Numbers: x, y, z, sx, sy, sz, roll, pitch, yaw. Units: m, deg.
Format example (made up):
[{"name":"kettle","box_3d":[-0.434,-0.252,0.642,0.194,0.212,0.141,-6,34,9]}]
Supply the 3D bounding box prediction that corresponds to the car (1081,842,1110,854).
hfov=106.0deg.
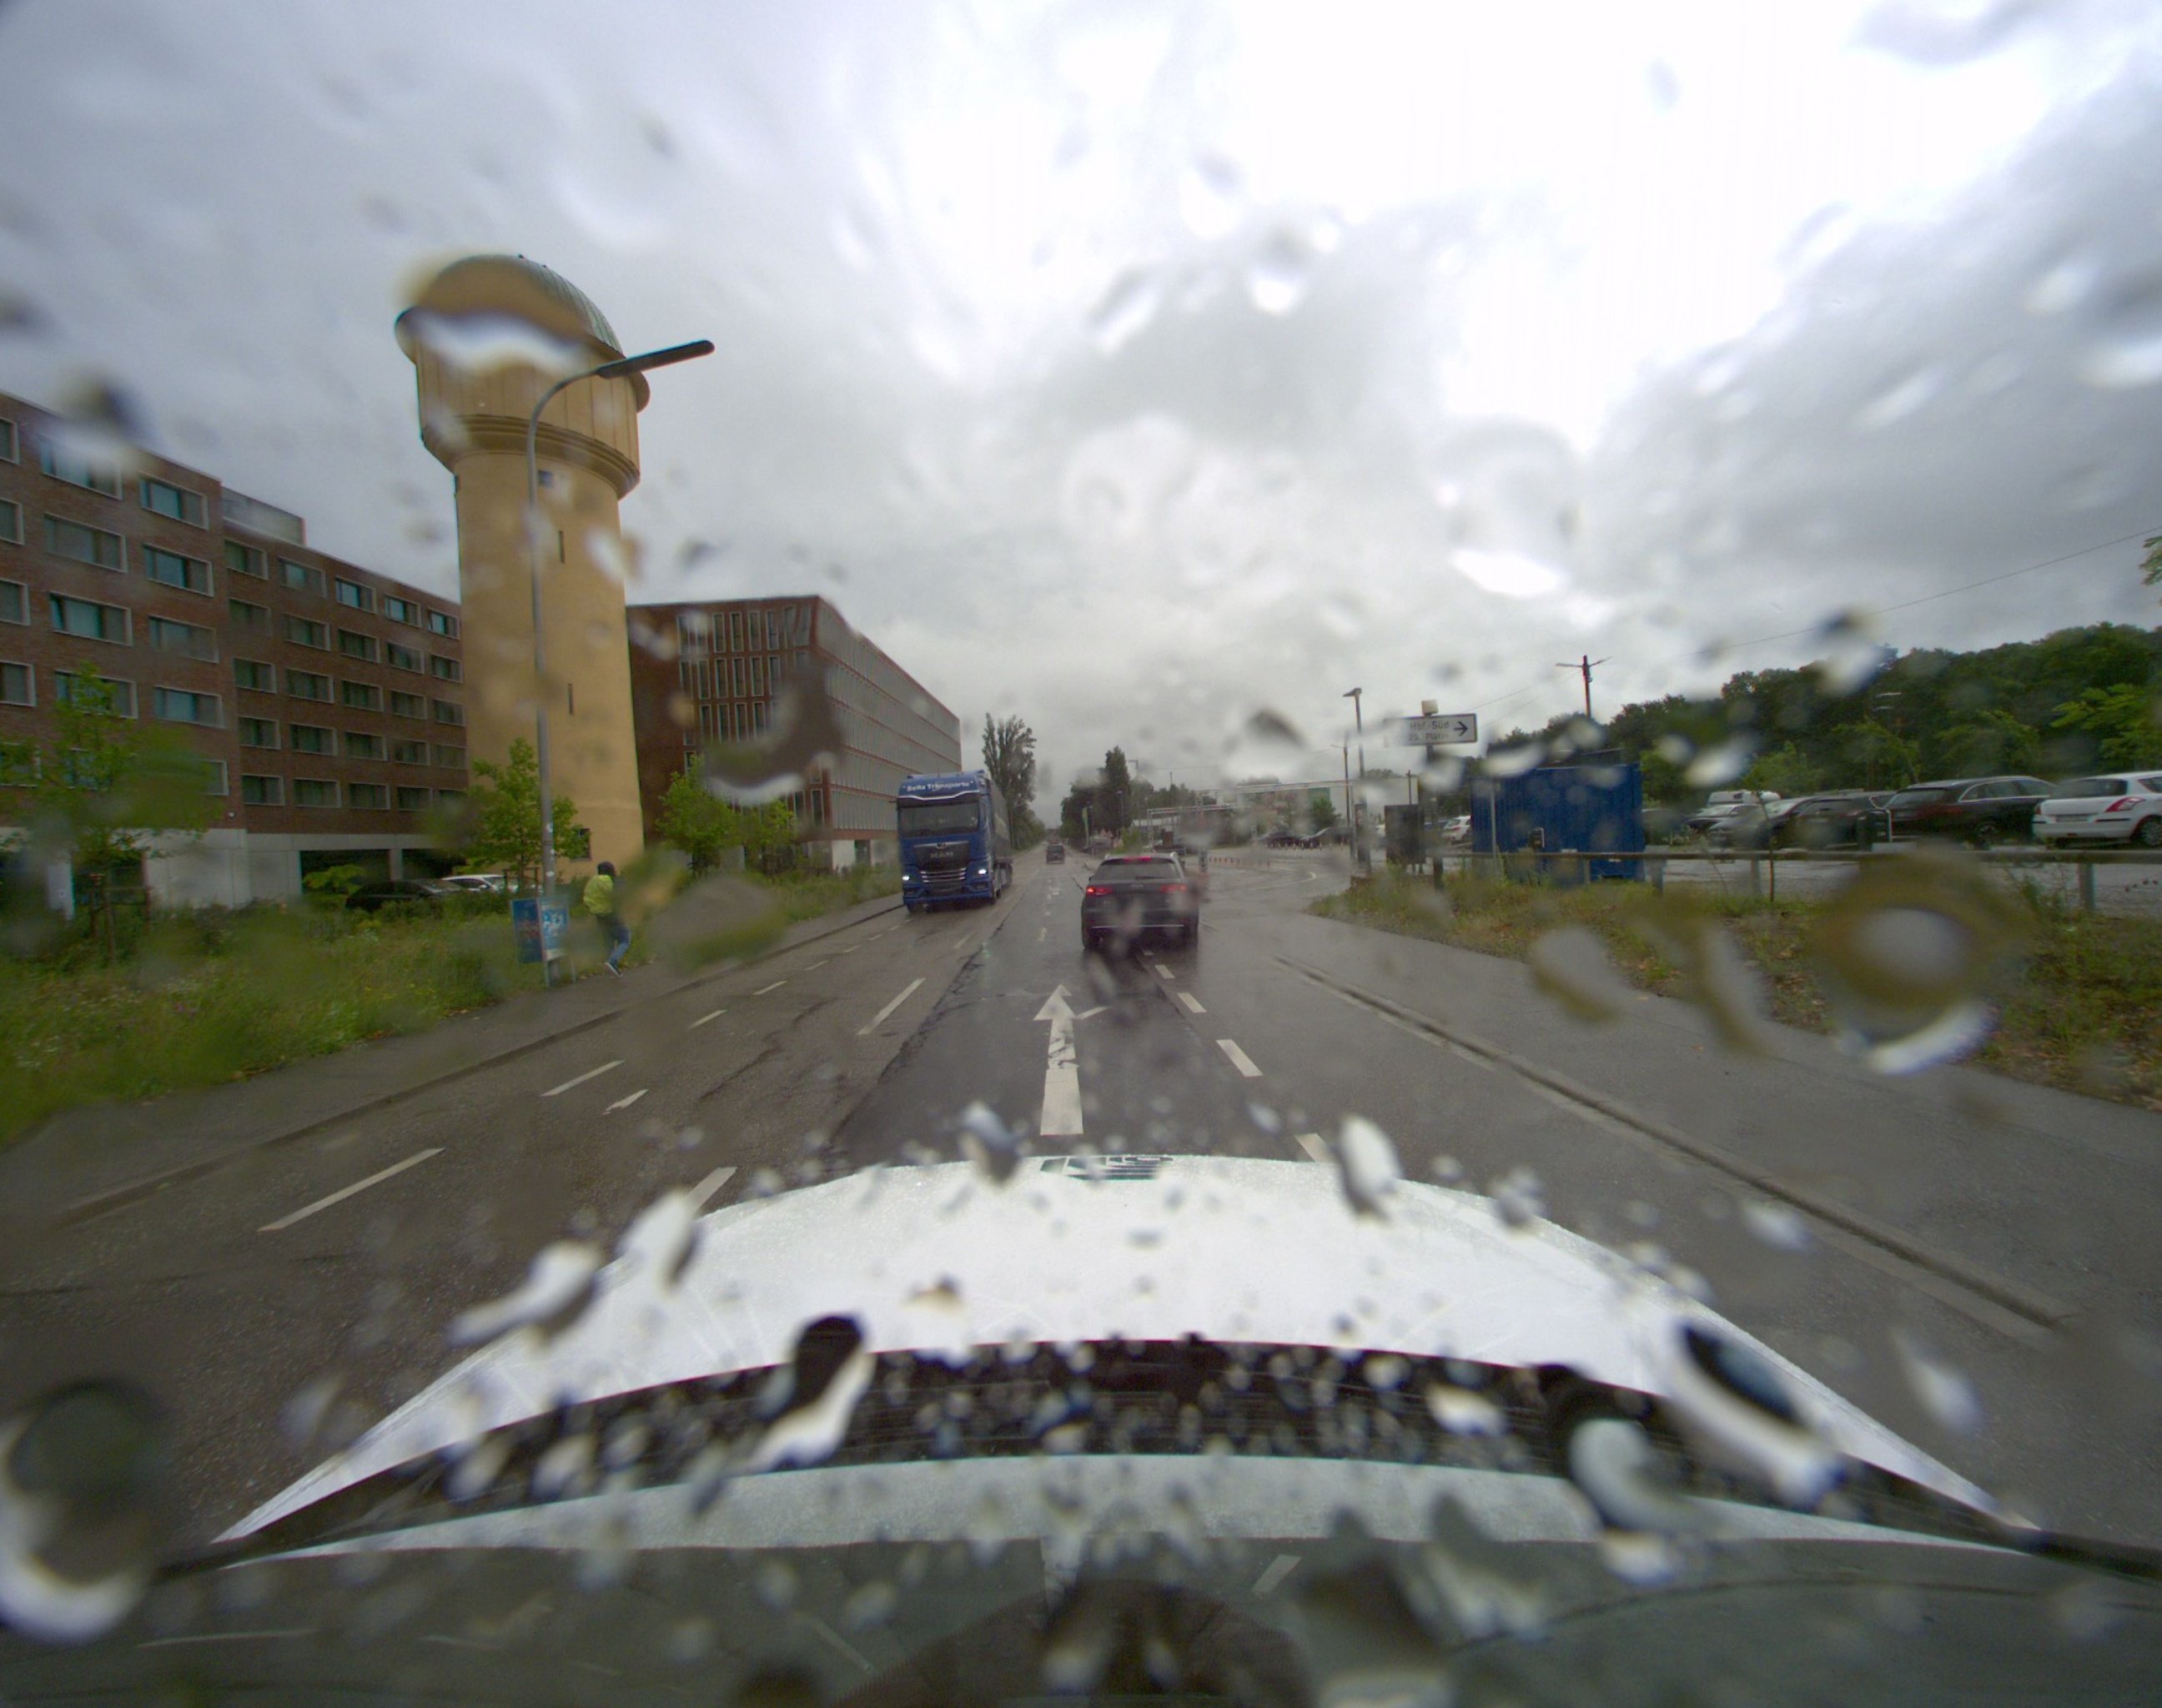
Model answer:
[{"name":"car","box_3d":[2.177,-0.846,118.682,4.122,1.568,1.765,-3,0,0]}]

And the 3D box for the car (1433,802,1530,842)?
[{"name":"car","box_3d":[20.128,-1.584,40.992,3.890,1.583,1.787,-6,-1,1]}]

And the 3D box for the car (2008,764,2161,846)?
[{"name":"car","box_3d":[21.920,-1.079,16.597,3.940,1.490,1.777,-5,-1,0]}]

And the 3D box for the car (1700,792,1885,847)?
[{"name":"car","box_3d":[20.818,-0.979,23.957,3.872,1.221,1.649,-5,-1,3]}]

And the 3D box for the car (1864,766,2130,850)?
[{"name":"car","box_3d":[20.911,-1.012,18.721,3.940,1.490,1.870,-5,-1,0]}]

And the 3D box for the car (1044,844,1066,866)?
[{"name":"car","box_3d":[-2.518,0.087,78.519,1.989,1.910,4.197,-4,0,-3]}]

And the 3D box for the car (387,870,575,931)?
[{"name":"car","box_3d":[-19.715,1.494,26.939,4.514,1.641,1.997,-3,0,-5]}]

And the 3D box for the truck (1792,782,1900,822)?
[{"name":"truck","box_3d":[47.713,-3.174,50.948,2.063,2.138,5.088,-4,1,3]}]

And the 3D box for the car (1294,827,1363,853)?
[{"name":"car","box_3d":[19.043,-1.052,62.772,4.616,1.716,2.014,-2,-1,-8]}]

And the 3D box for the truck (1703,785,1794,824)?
[{"name":"truck","box_3d":[47.480,-3.505,58.096,2.067,2.401,5.080,-4,1,-2]}]

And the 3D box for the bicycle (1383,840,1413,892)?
[{"name":"bicycle","box_3d":[7.277,0.250,18.745,0.502,1.084,1.711,-4,0,19]}]

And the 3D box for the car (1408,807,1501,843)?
[{"name":"car","box_3d":[20.071,-1.552,43.900,4.031,1.484,1.928,-6,-1,1]}]

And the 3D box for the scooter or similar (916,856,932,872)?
[{"name":"scooter or similar","box_3d":[-13.363,0.864,69.168,0.461,1.230,1.216,-3,1,40]}]

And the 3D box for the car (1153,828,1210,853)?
[{"name":"car","box_3d":[8.567,-1.115,69.693,4.663,1.735,2.129,-4,-1,2]}]

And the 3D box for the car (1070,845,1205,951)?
[{"name":"car","box_3d":[1.013,0.616,13.856,1.885,1.456,4.234,-2,0,5]}]

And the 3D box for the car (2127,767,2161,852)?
[{"name":"car","box_3d":[20.909,-0.954,13.823,3.940,1.490,1.777,-5,-1,0]}]

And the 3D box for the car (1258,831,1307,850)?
[{"name":"car","box_3d":[18.461,-1.244,74.770,3.976,1.485,1.999,-3,-1,-1]}]

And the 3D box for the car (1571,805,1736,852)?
[{"name":"car","box_3d":[20.529,-0.901,29.337,4.578,1.221,1.976,-5,-1,-3]}]

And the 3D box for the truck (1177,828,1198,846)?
[{"name":"truck","box_3d":[16.631,-2.669,127.503,2.293,2.659,7.419,-4,1,1]}]

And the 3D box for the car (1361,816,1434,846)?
[{"name":"car","box_3d":[20.059,-1.436,51.702,3.817,1.484,1.928,-6,-1,1]}]

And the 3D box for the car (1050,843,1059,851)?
[{"name":"car","box_3d":[-5.926,-1.491,183.651,1.724,1.686,3.897,-3,0,1]}]

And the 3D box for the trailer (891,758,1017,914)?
[{"name":"trailer","box_3d":[-4.480,-0.599,32.124,3.287,4.653,13.717,-4,0,-3]}]

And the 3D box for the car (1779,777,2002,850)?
[{"name":"car","box_3d":[21.186,-1.030,21.442,3.940,1.490,1.870,-5,-1,0]}]

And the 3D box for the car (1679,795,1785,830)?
[{"name":"car","box_3d":[35.986,-2.257,45.093,4.308,1.589,2.019,-4,1,-3]}]

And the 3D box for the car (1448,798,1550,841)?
[{"name":"car","box_3d":[19.604,-1.587,38.296,3.762,1.583,1.787,-6,-1,1]}]

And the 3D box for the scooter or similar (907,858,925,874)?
[{"name":"scooter or similar","box_3d":[-13.471,0.979,66.429,1.311,1.177,0.468,-4,1,3]}]

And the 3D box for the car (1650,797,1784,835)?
[{"name":"car","box_3d":[25.597,-1.505,32.870,4.053,1.071,1.829,-5,-1,-4]}]

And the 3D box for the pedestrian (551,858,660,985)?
[{"name":"pedestrian","box_3d":[-6.903,0.945,11.880,0.906,1.718,1.026,-3,0,-2]}]

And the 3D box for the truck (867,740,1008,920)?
[{"name":"truck","box_3d":[-4.128,-0.679,24.967,3.287,4.653,6.026,-4,0,-3]}]
